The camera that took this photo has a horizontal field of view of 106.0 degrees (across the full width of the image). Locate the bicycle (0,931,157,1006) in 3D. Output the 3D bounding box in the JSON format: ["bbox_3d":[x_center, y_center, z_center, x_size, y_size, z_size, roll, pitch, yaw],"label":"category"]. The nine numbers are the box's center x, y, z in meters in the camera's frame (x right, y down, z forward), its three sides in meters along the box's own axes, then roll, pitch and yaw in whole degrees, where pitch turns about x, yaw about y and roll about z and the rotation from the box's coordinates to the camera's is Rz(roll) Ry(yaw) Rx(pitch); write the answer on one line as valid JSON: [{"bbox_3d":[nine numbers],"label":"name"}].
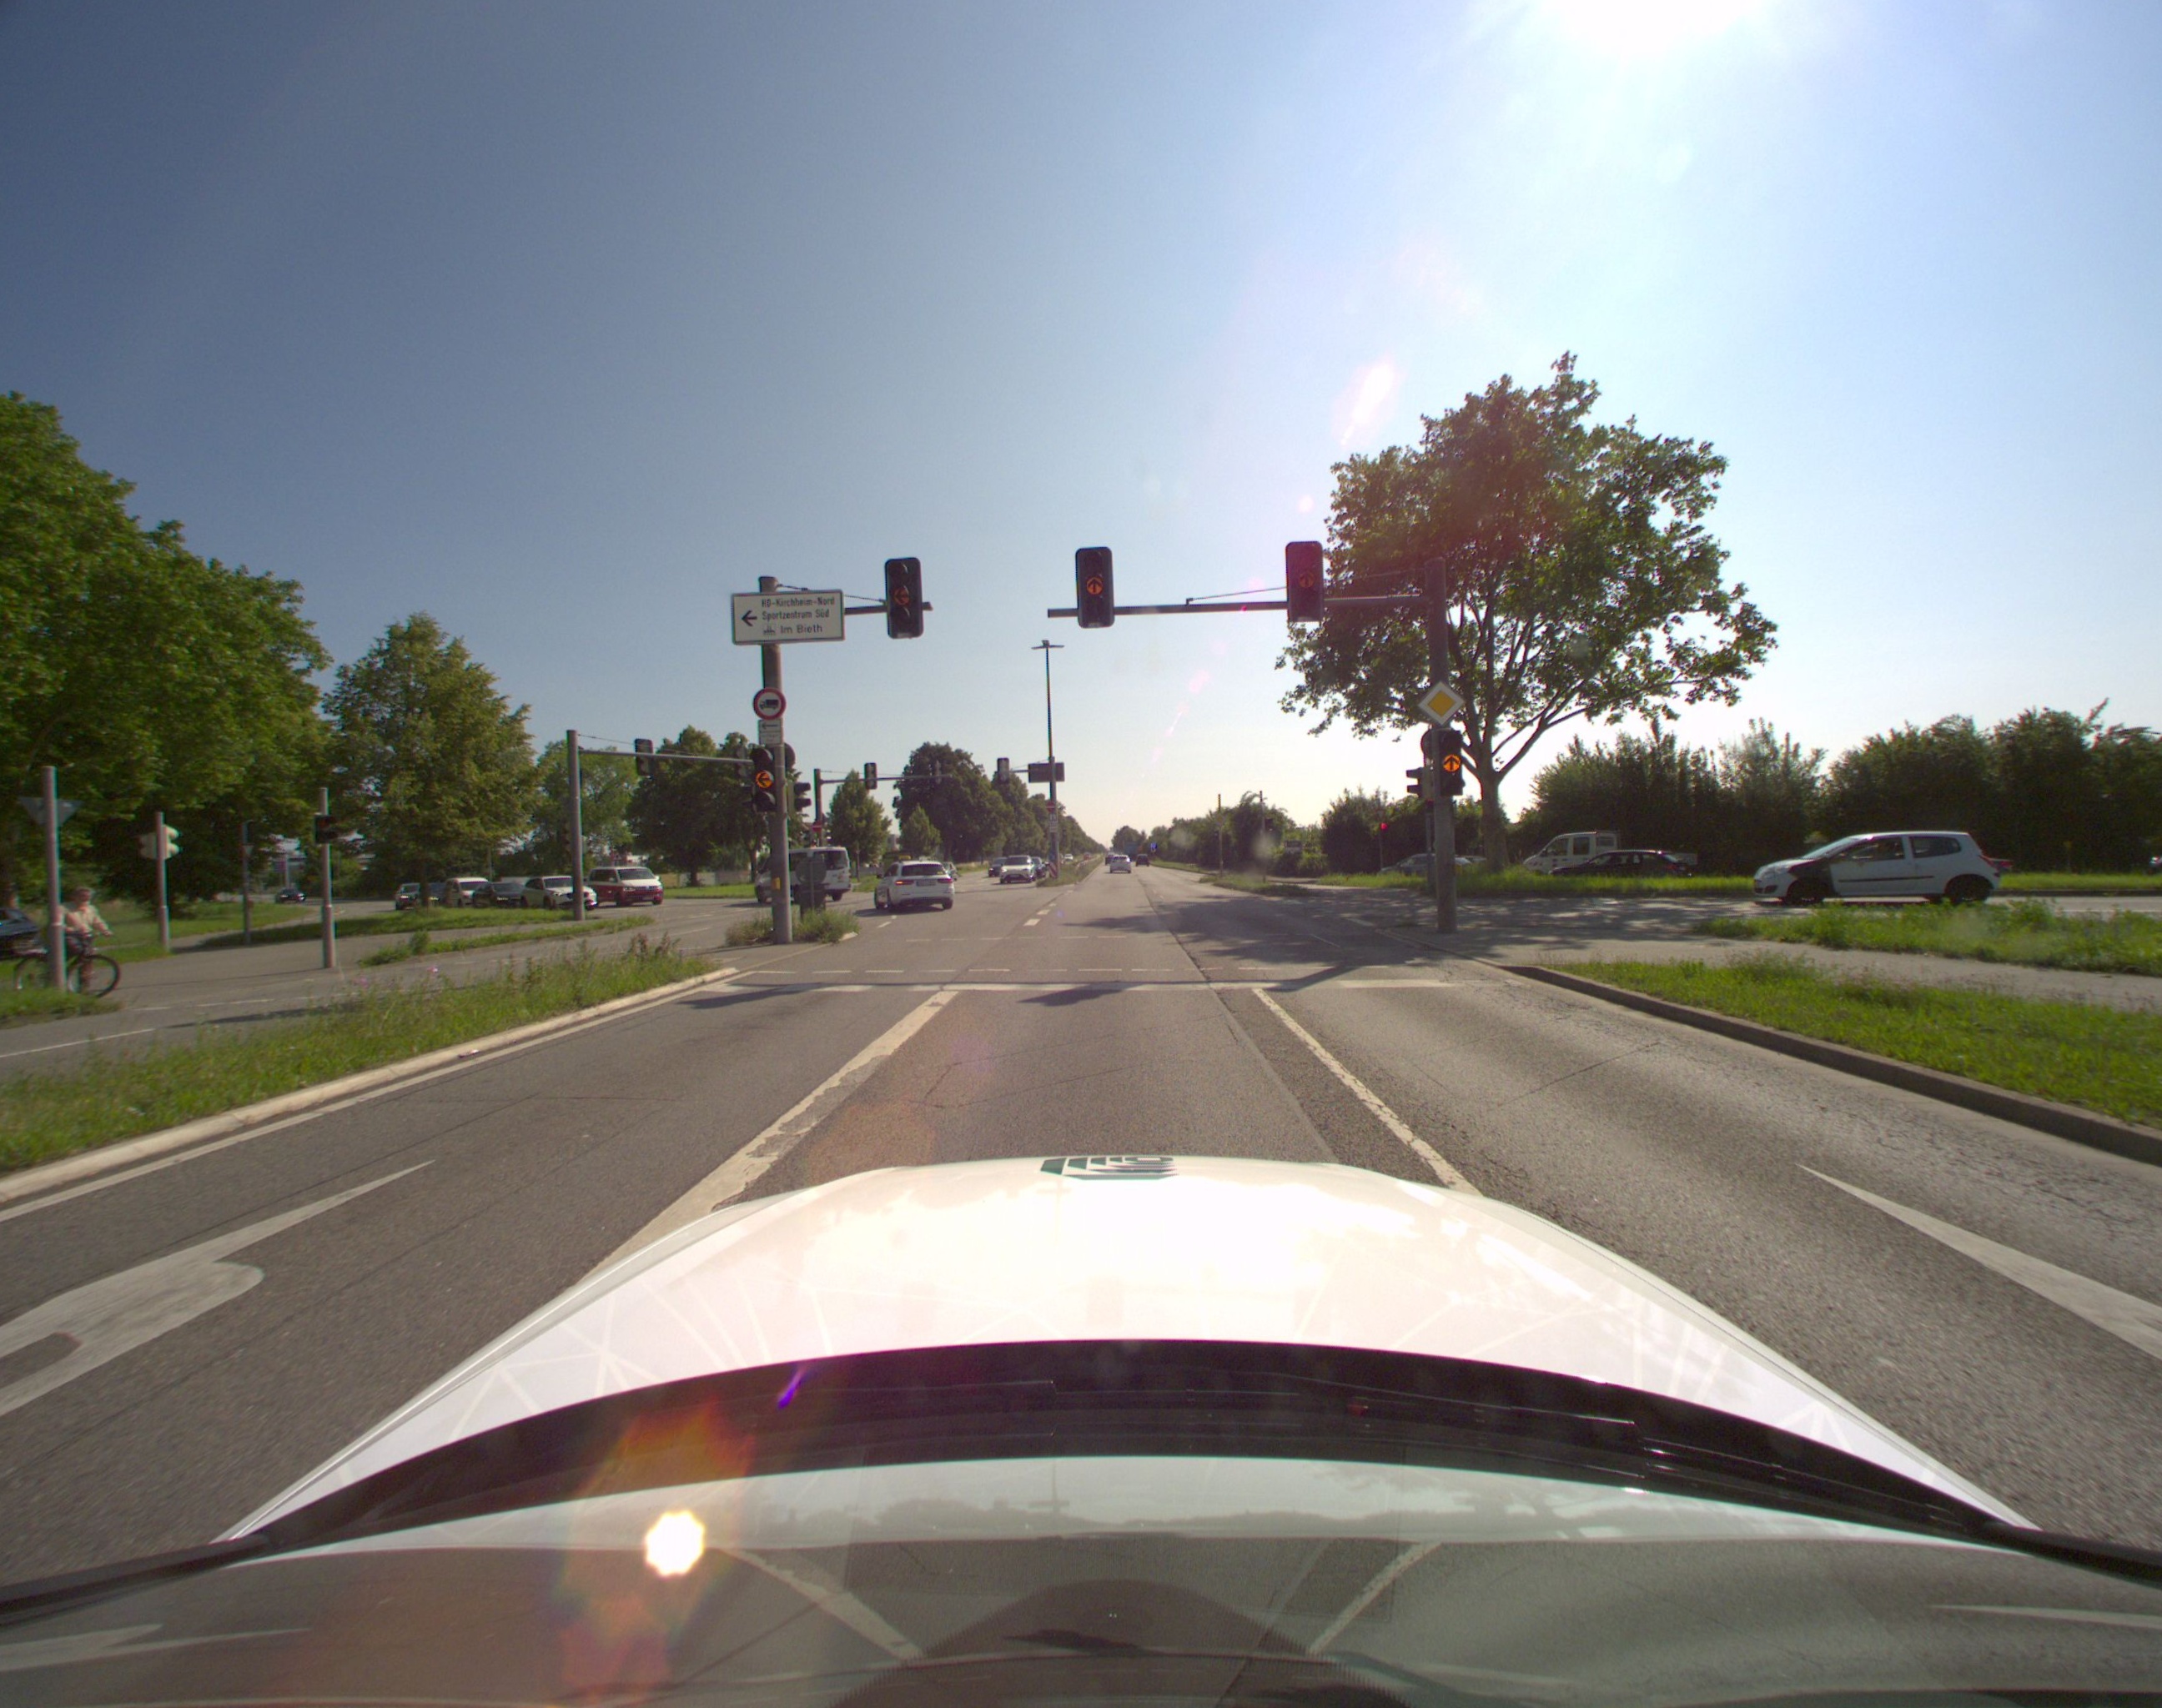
[{"bbox_3d":[-15.382,1.739,12.506,1.667,1.041,0.749,-1,0,7],"label":"bicycle"}]

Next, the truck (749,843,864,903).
[{"bbox_3d":[-12.319,0.823,36.310,2.395,2.389,5.965,-2,0,-45],"label":"truck"}]

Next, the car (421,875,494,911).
[{"bbox_3d":[-33.741,2.103,44.028,4.449,1.801,2.018,-3,0,37],"label":"car"}]

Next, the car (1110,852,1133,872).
[{"bbox_3d":[3.268,0.595,66.153,1.791,1.552,4.004,0,0,3],"label":"car"}]

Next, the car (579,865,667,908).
[{"bbox_3d":[-22.365,1.587,39.685,4.595,1.950,2.013,-2,0,37],"label":"car"}]

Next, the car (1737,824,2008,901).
[{"bbox_3d":[16.342,0.189,17.102,3.707,1.469,1.796,-1,0,28],"label":"car"}]

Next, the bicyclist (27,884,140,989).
[{"bbox_3d":[-15.288,1.241,12.498,0.842,1.517,0.749,-1,0,7],"label":"bicyclist"}]

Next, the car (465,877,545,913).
[{"bbox_3d":[-28.248,1.993,39.908,4.212,1.606,2.018,-3,0,37],"label":"car"}]

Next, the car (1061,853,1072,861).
[{"bbox_3d":[-2.747,0.564,158.339,1.986,1.502,4.092,-2,0,1],"label":"car"}]

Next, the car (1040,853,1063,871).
[{"bbox_3d":[-2.784,0.739,78.173,1.840,1.594,4.618,-2,0,1],"label":"car"}]

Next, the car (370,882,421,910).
[{"bbox_3d":[-43.114,2.608,51.173,4.214,1.606,2.017,-3,0,44],"label":"car"}]

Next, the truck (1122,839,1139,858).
[{"bbox_3d":[9.207,-0.974,152.835,2.880,3.428,9.175,-2,0,3],"label":"truck"}]

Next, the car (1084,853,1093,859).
[{"bbox_3d":[1.720,0.447,188.496,1.905,1.502,4.092,-2,0,1],"label":"car"}]

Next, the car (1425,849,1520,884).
[{"bbox_3d":[18.169,0.612,37.942,1.625,1.547,3.790,1,-1,-28],"label":"car"}]

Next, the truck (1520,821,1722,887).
[{"bbox_3d":[21.491,0.082,32.825,2.352,2.386,6.411,2,-2,-31],"label":"truck"}]

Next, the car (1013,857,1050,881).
[{"bbox_3d":[-3.305,0.968,55.415,1.808,1.485,4.900,-2,0,5],"label":"car"}]

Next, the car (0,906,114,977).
[{"bbox_3d":[-25.701,2.118,18.982,1.998,1.495,4.259,-3,-1,-17],"label":"car"}]

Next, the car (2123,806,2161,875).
[{"bbox_3d":[27.687,-0.314,18.701,1.897,1.635,4.414,1,-1,-44],"label":"car"}]

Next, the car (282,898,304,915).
[{"bbox_3d":[-88.809,5.895,91.813,1.787,1.750,4.049,0,-1,-43],"label":"car"}]

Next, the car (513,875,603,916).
[{"bbox_3d":[-23.230,1.819,36.141,4.212,1.606,2.018,-3,0,37],"label":"car"}]

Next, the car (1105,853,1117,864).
[{"bbox_3d":[3.975,0.540,107.457,1.566,1.414,3.279,-2,0,2],"label":"car"}]

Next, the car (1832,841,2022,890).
[{"bbox_3d":[26.666,0.393,25.784,1.899,1.420,3.955,1,-2,-37],"label":"car"}]

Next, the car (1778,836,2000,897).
[{"bbox_3d":[23.707,0.357,24.071,1.895,1.635,4.419,1,-1,-36],"label":"car"}]

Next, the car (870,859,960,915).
[{"bbox_3d":[-5.237,0.955,25.093,1.820,1.464,4.934,-3,0,-22],"label":"car"}]

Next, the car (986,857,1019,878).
[{"bbox_3d":[-6.224,1.038,64.923,1.922,1.437,4.271,-3,0,3],"label":"car"}]

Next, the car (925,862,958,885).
[{"bbox_3d":[-9.855,1.370,57.754,1.480,1.414,3.764,-4,0,2],"label":"car"}]

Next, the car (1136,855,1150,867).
[{"bbox_3d":[7.534,0.876,99.290,1.565,1.414,3.279,-1,-1,3],"label":"car"}]

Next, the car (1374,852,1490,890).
[{"bbox_3d":[15.687,0.739,36.651,2.005,1.547,4.575,-1,-1,-28],"label":"car"}]

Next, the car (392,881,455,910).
[{"bbox_3d":[-38.520,2.424,47.690,4.072,1.512,1.932,-3,0,37],"label":"car"}]

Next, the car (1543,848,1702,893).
[{"bbox_3d":[19.768,0.593,29.909,2.007,1.528,4.424,0,-1,-32],"label":"car"}]

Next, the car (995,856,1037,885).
[{"bbox_3d":[-3.802,0.955,48.566,2.003,1.610,4.212,-2,0,2],"label":"car"}]
